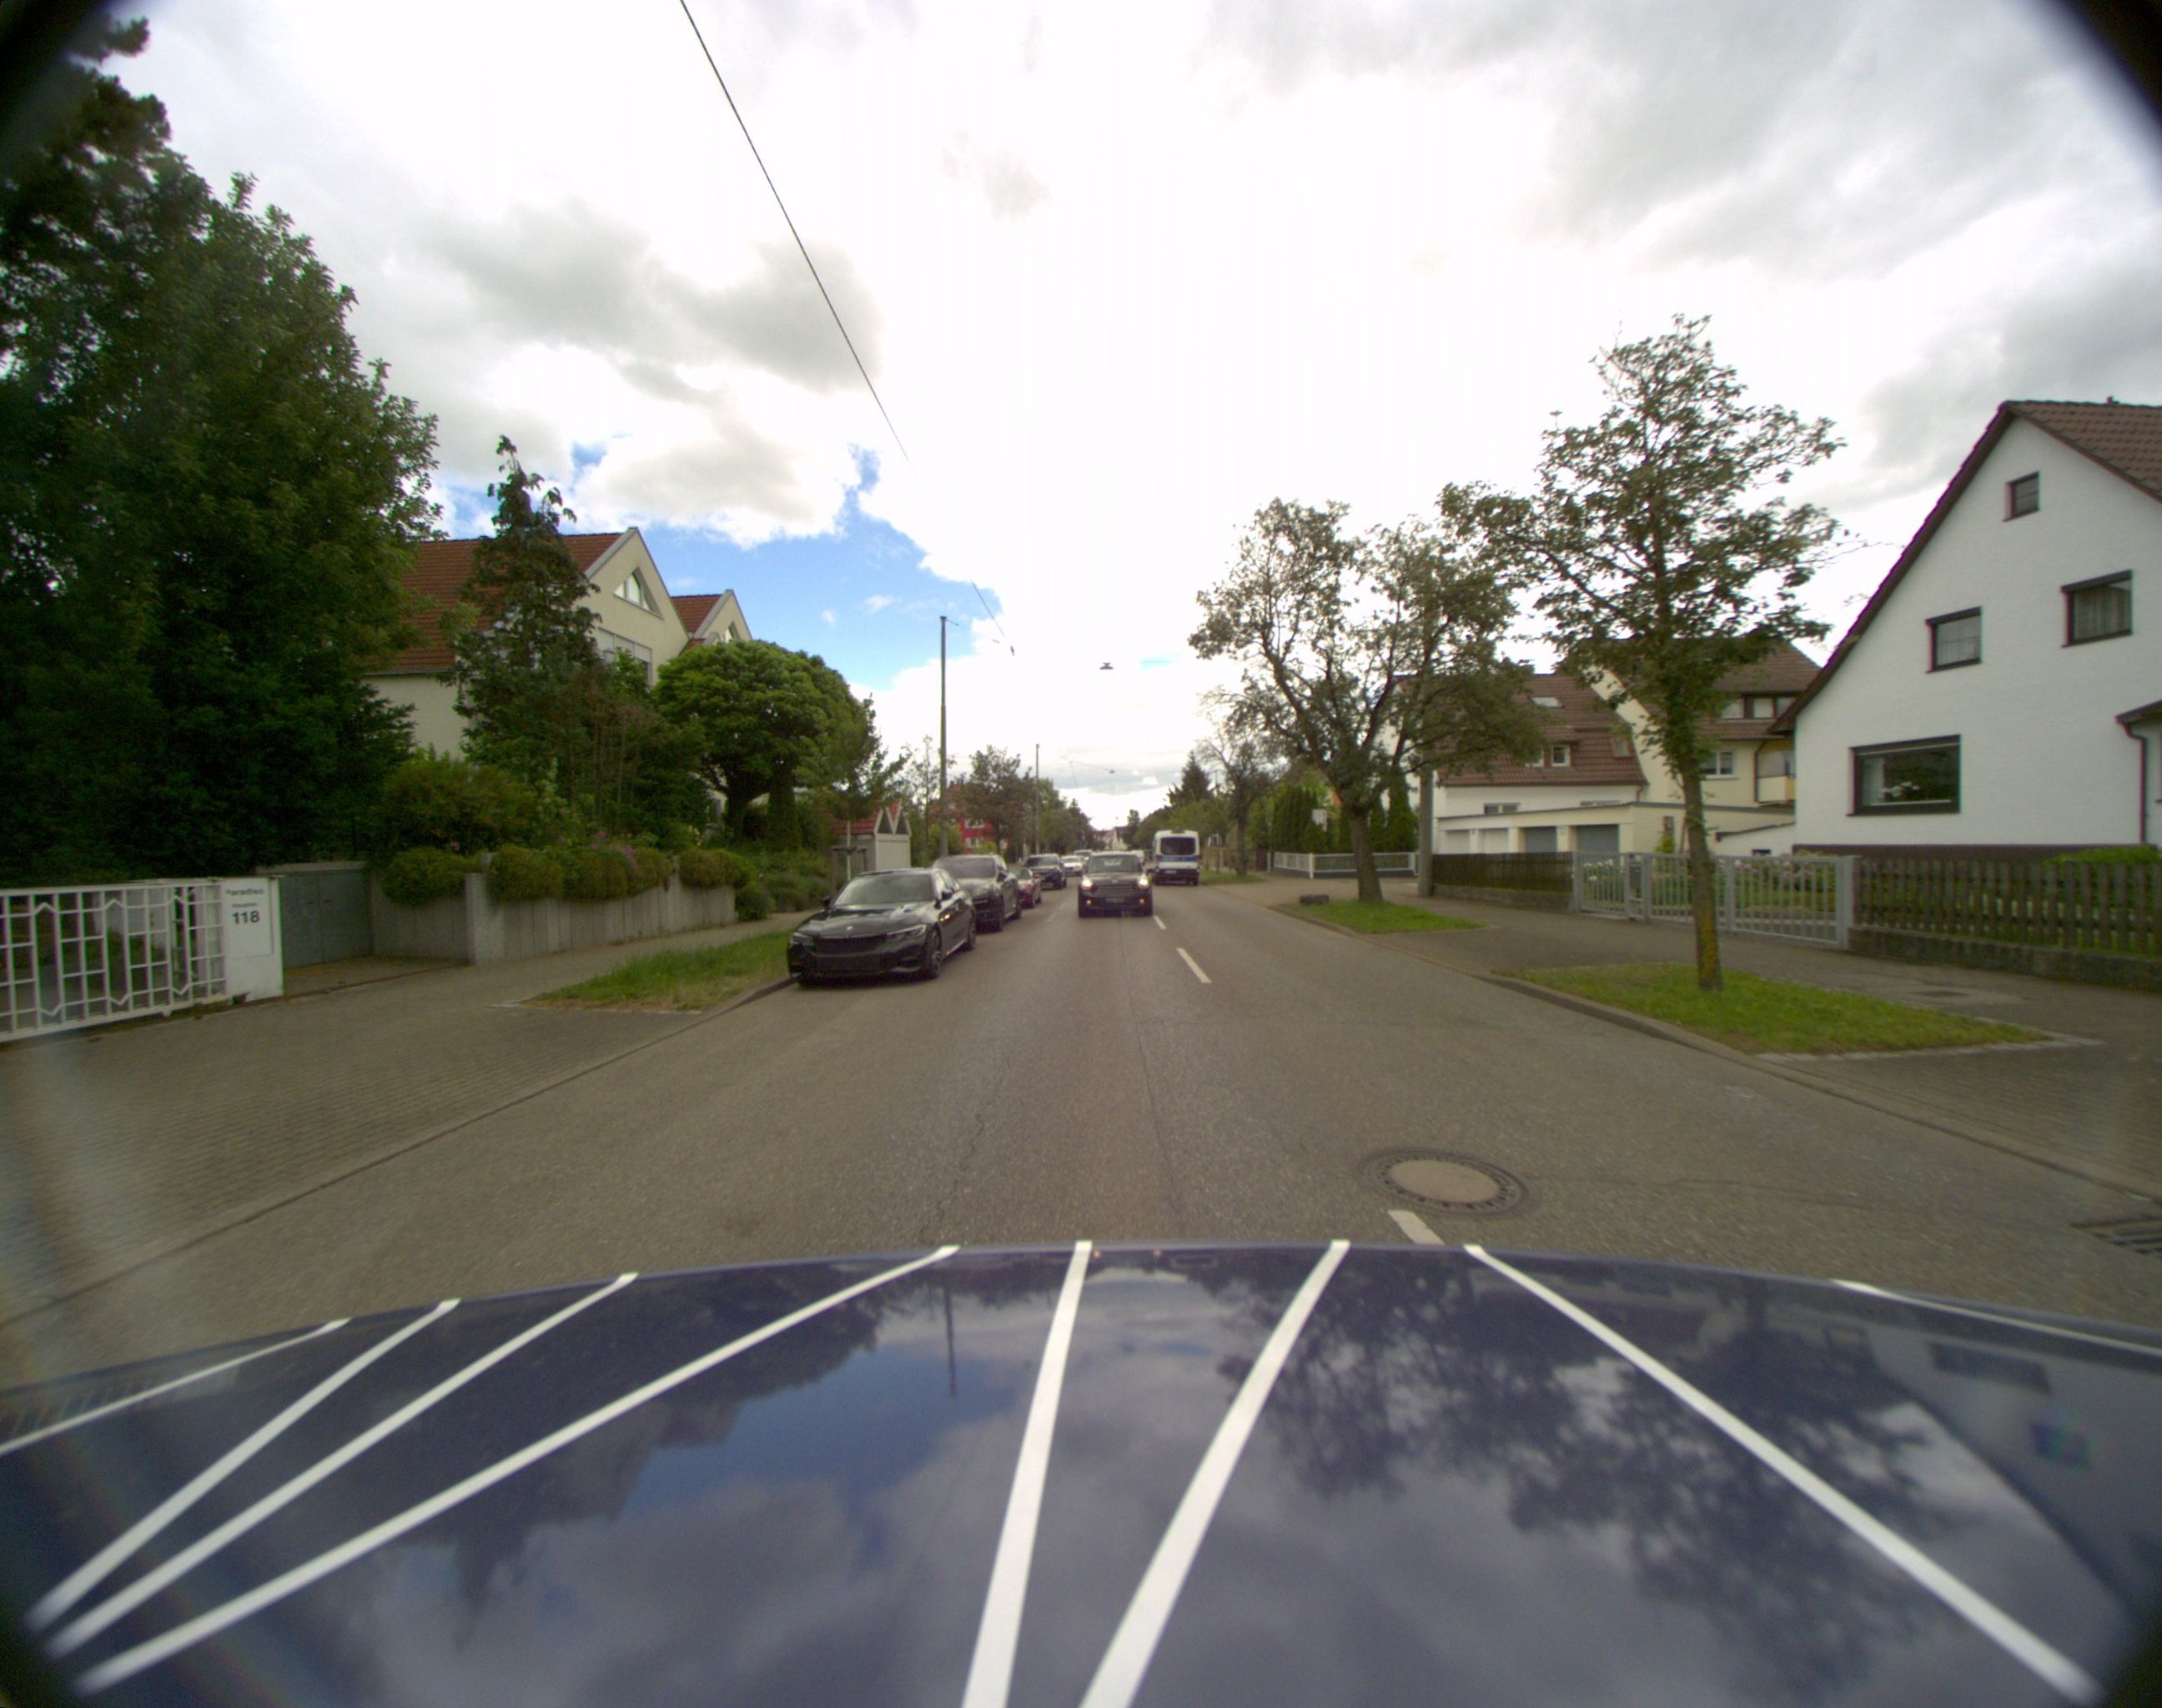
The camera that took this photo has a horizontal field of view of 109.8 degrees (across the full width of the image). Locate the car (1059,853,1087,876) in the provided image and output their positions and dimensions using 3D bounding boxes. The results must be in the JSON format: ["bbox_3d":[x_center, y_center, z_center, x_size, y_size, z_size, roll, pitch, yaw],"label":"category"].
[{"bbox_3d":[-0.540,0.708,54.777,1.697,1.445,4.405,-3,0,3],"label":"car"}]

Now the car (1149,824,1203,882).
[{"bbox_3d":[4.478,-0.059,36.583,2.078,2.568,5.300,1,1,1],"label":"car"}]

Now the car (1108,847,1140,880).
[{"bbox_3d":[2.293,0.468,40.196,1.590,1.598,3.685,-1,0,4],"label":"car"}]

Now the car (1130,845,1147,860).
[{"bbox_3d":[6.748,-0.182,89.501,1.799,1.742,4.299,-1,1,3],"label":"car"}]

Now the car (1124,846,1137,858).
[{"bbox_3d":[7.104,-0.364,109.317,1.818,1.683,4.465,0,1,2],"label":"car"}]

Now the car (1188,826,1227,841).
[{"bbox_3d":[16.252,-2.629,97.442,4.644,1.611,2.000,-2,0,1],"label":"car"}]

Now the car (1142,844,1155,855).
[{"bbox_3d":[11.692,-0.760,132.460,1.998,1.938,4.898,-1,0,3],"label":"car"}]

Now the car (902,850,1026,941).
[{"bbox_3d":[-2.465,0.807,17.160,1.834,1.702,4.549,-2,1,3],"label":"car"}]

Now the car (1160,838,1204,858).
[{"bbox_3d":[13.692,-0.811,103.091,5.610,2.549,2.133,1,2,20],"label":"car"}]

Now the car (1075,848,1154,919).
[{"bbox_3d":[0.875,0.655,19.060,1.743,1.573,3.685,-1,0,4],"label":"car"}]

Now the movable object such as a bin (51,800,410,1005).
[{"bbox_3d":[-9.378,0.489,8.538,2.317,2.002,1.343,-3,1,-2],"label":"movable object such as a bin"}]

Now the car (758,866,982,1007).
[{"bbox_3d":[-2.763,1.008,11.170,1.834,1.448,4.550,-3,1,2],"label":"car"}]

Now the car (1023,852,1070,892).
[{"bbox_3d":[-1.507,0.767,34.886,1.692,1.600,4.109,-3,1,3],"label":"car"}]

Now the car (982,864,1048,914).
[{"bbox_3d":[-1.978,1.031,23.777,1.485,1.229,3.884,-4,1,2],"label":"car"}]

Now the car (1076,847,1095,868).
[{"bbox_3d":[0.500,0.304,76.029,1.779,1.932,4.788,-3,0,2],"label":"car"}]
